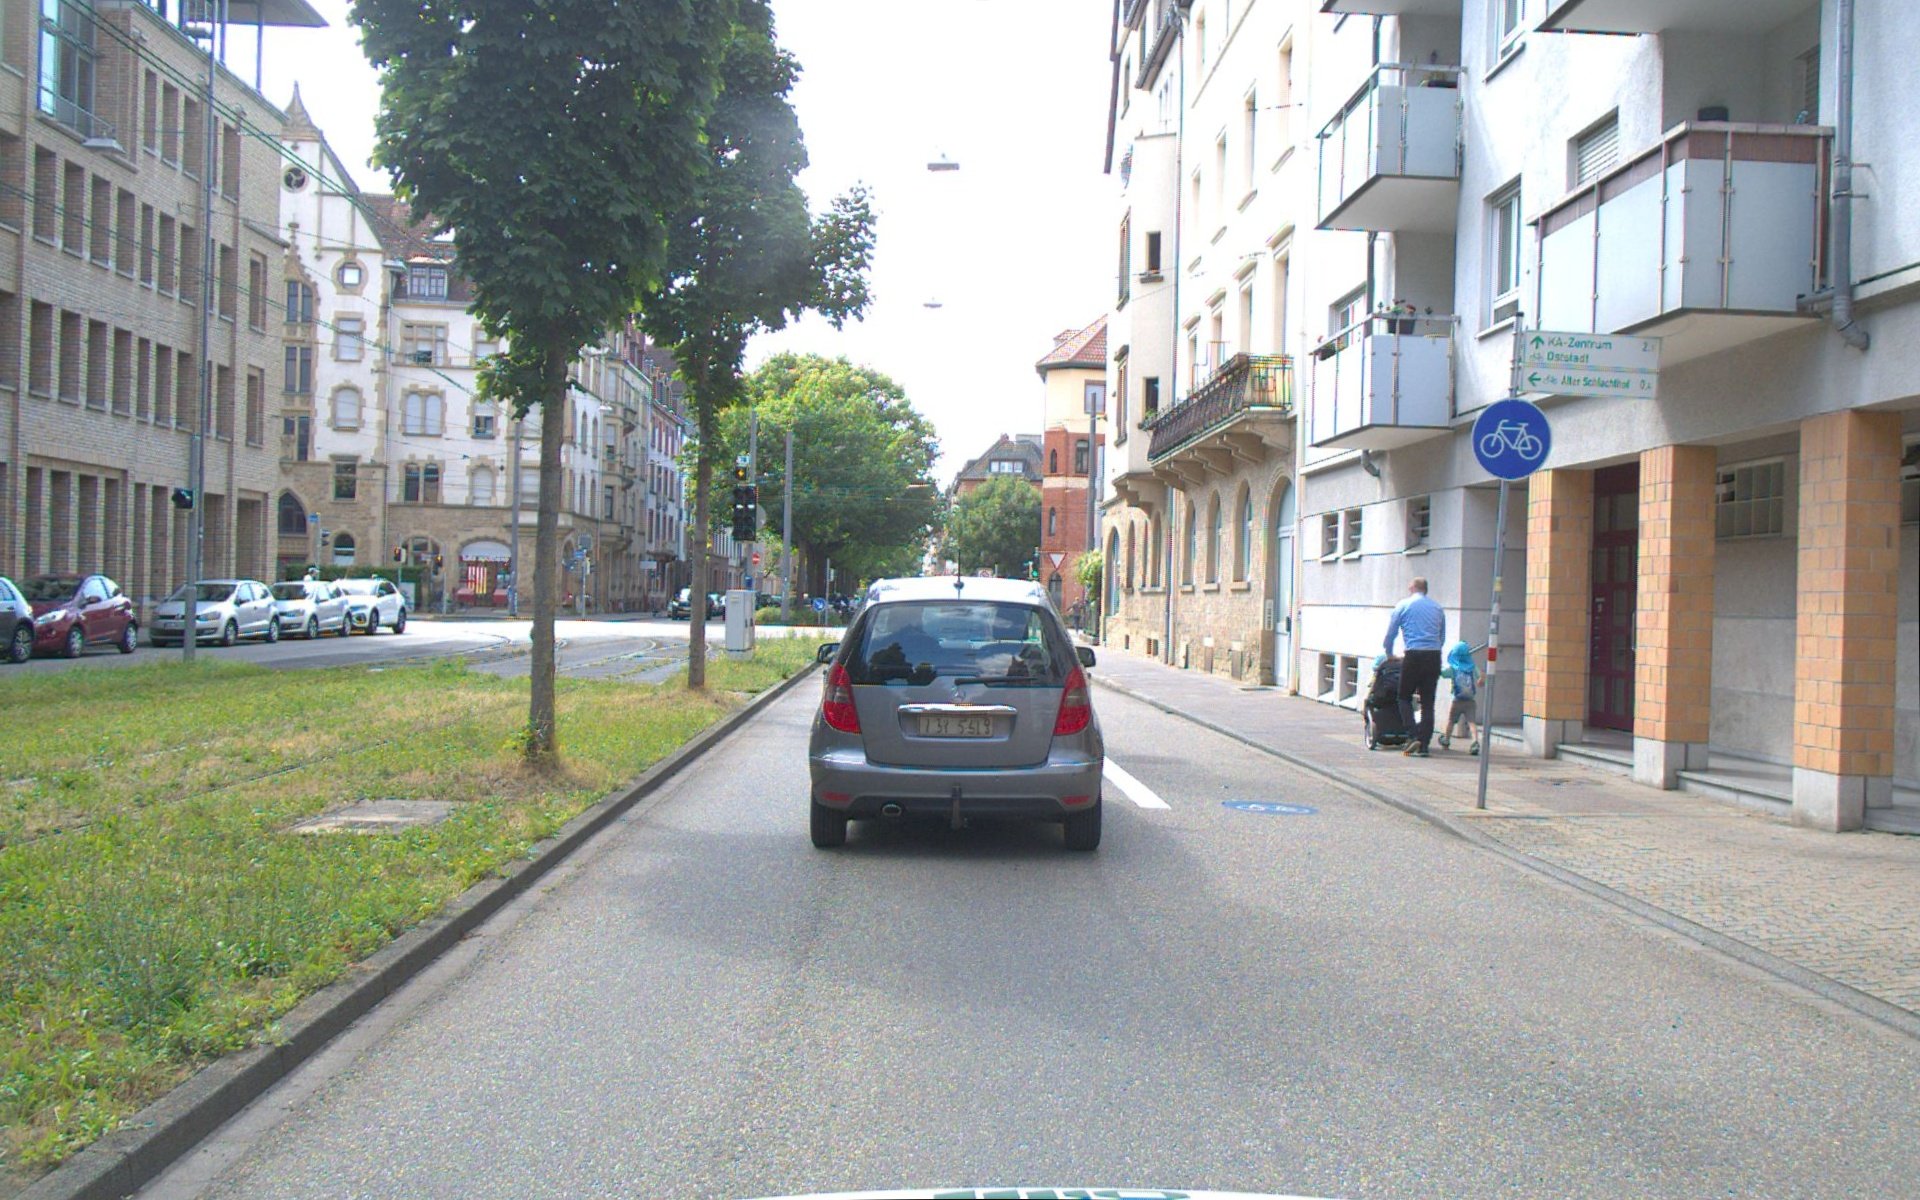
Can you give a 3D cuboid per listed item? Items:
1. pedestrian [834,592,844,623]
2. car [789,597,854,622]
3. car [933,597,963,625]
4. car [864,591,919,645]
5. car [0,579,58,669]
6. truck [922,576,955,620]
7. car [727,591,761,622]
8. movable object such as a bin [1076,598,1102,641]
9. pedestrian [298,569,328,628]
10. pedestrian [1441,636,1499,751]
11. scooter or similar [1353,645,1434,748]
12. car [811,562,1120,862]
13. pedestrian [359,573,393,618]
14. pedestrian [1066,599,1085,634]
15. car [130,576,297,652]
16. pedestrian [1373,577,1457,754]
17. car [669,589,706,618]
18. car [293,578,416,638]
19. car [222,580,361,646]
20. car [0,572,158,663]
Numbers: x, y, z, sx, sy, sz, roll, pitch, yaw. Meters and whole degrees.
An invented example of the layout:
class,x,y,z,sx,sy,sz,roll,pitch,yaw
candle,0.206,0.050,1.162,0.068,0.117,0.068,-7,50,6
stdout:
class,x,y,z,sx,sy,sz,roll,pitch,yaw
pedestrian,-6.878,0.433,93.757,0.483,1.755,0.653,1,0,-8
car,-8.271,0.558,98.444,1.957,1.362,3.941,2,0,-41
car,-0.748,0.669,103.952,1.716,1.661,3.500,2,0,2
car,-2.244,0.578,54.842,1.687,1.736,3.676,1,0,-1
car,-16.174,0.361,25.803,1.893,1.420,4.238,1,0,-1
truck,-1.490,-0.122,116.885,2.079,3.022,4.001,1,0,2
car,-12.650,0.353,97.028,1.955,1.758,3.994,1,0,-7
movable object such as a bin,4.644,0.699,59.624,0.701,1.497,0.980,1,0,-10
pedestrian,-20.326,-0.043,51.936,0.751,1.827,0.952,2,0,-27
pedestrian,5.271,0.959,17.108,0.447,1.154,0.494,0,0,-1
scooter or similar,4.626,1.017,17.691,0.580,1.019,0.905,-3,0,-1
car,0.009,0.621,10.954,1.687,1.633,3.676,1,0,-1
pedestrian,-23.439,-0.171,66.400,0.763,1.752,1.017,1,0,44
pedestrian,5.710,0.825,81.730,0.851,1.685,0.736,1,0,3
car,-16.571,0.284,36.948,1.813,1.557,4.209,1,0,-1
pedestrian,4.650,0.651,16.945,0.608,1.769,0.877,0,0,-1
car,-15.702,0.197,95.443,1.955,1.646,3.994,1,0,-7
car,-16.977,0.203,46.558,1.893,1.561,4.257,1,0,-1
car,-16.868,0.302,41.947,1.893,1.557,4.014,1,0,-1
car,-16.399,0.300,30.426,1.550,1.557,3.549,1,0,-1
